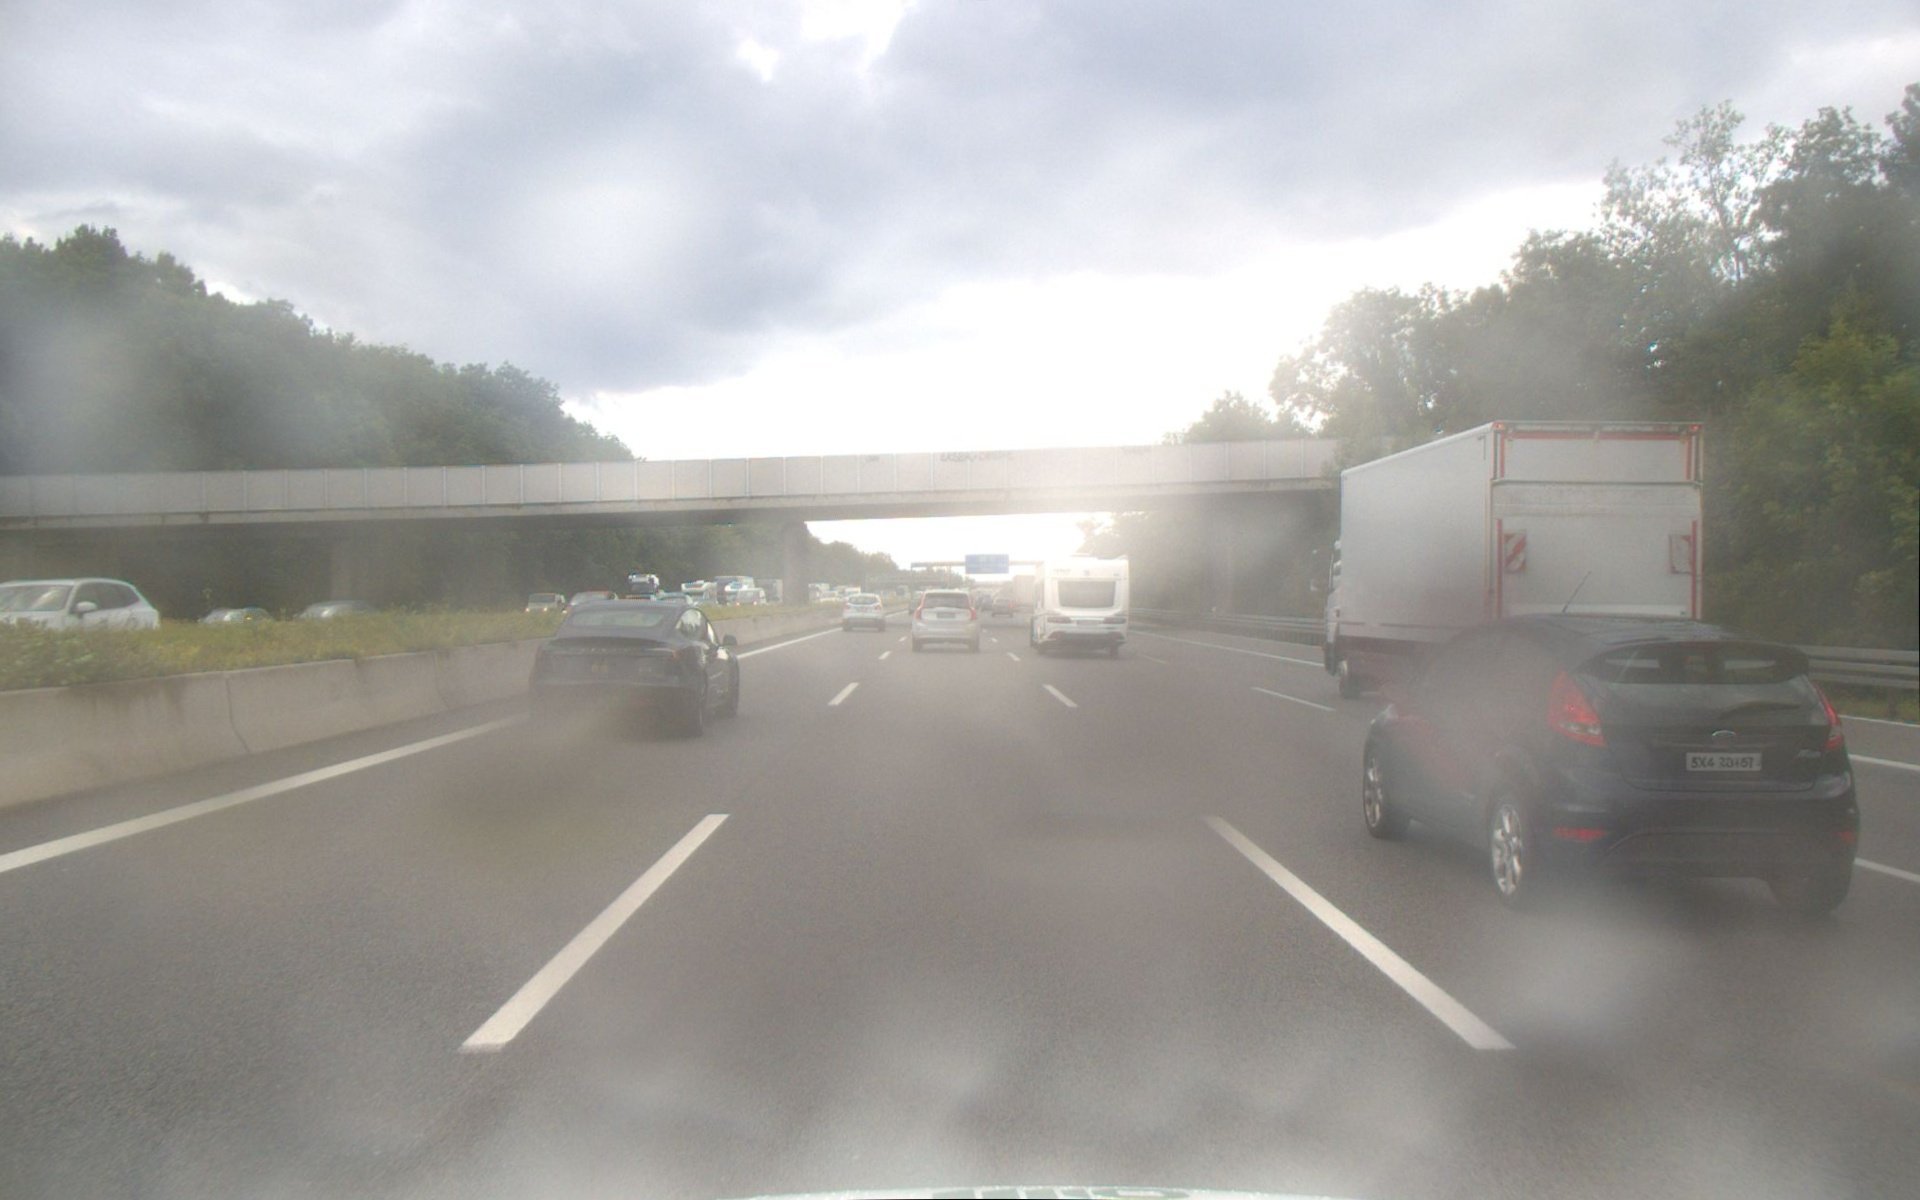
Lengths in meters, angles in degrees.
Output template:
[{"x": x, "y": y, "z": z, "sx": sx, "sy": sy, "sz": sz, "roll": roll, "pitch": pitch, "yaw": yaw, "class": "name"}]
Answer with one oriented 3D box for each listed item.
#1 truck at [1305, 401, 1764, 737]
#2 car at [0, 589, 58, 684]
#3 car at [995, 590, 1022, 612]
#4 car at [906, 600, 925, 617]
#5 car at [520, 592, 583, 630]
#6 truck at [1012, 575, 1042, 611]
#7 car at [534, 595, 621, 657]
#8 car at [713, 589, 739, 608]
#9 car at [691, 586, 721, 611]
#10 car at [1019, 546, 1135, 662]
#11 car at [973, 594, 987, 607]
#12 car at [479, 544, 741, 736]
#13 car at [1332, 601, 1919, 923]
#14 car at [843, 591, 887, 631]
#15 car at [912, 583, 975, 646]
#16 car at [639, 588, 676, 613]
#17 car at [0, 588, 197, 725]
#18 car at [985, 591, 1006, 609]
[{"x": 7.522, "y": -0.364, "z": 23.600, "sx": 3.069, "sy": 3.774, "sz": 9.846, "roll": 0, "pitch": 0, "yaw": 0, "class": "truck"}, {"x": -21.392, "y": 0.758, "z": 34.500, "sx": 2.552, "sy": 1.986, "sz": 4.827, "roll": 0, "pitch": 0, "yaw": -1, "class": "car"}, {"x": 4.065, "y": 0.080, "z": 138.563, "sx": 2.002, "sy": 1.855, "sz": 4.903, "roll": 0, "pitch": 0, "yaw": -1, "class": "car"}, {"x": -4.037, "y": 0.789, "z": 150.109, "sx": 1.745, "sy": 1.507, "sz": 4.351, "roll": 0, "pitch": 0, "yaw": -1, "class": "car"}, {"x": -21.722, "y": 0.554, "z": 88.114, "sx": 2.175, "sy": 1.986, "sz": 4.827, "roll": 0, "pitch": 0, "yaw": -1, "class": "car"}, {"x": 7.321, "y": -0.769, "z": 181.292, "sx": 2.847, "sy": 3.876, "sz": 7.272, "roll": 0, "pitch": 0, "yaw": -1, "class": "truck"}, {"x": -13.432, "y": 0.874, "z": 58.317, "sx": 2.002, "sy": 2.049, "sz": 4.787, "roll": 0, "pitch": 0, "yaw": -1, "class": "car"}, {"x": -24.991, "y": -0.123, "z": 176.751, "sx": 2.175, "sy": 1.986, "sz": 4.827, "roll": 0, "pitch": 0, "yaw": -1, "class": "car"}, {"x": -20.852, "y": -0.148, "z": 136.042, "sx": 1.953, "sy": 2.049, "sz": 3.998, "roll": 0, "pitch": 0, "yaw": -2, "class": "car"}, {"x": 3.138, "y": 0.087, "z": 46.110, "sx": 2.515, "sy": 2.946, "sz": 7.531, "roll": 0, "pitch": 0, "yaw": -1, "class": "car"}, {"x": 2.924, "y": 0.117, "z": 243.127, "sx": 2.001, "sy": 1.855, "sz": 4.904, "roll": 0, "pitch": 0, "yaw": 0, "class": "car"}, {"x": -3.725, "y": 0.379, "z": 18.575, "sx": 1.953, "sy": 1.852, "sz": 5.161, "roll": 0, "pitch": 0, "yaw": -1, "class": "car"}, {"x": 3.606, "y": 0.741, "z": 9.662, "sx": 1.846, "sy": 1.431, "sz": 4.281, "roll": 0, "pitch": 0, "yaw": -1, "class": "car"}, {"x": -4.280, "y": 0.482, "z": 74.954, "sx": 1.778, "sy": 1.719, "sz": 4.851, "roll": 0, "pitch": 1, "yaw": -1, "class": "car"}, {"x": -0.473, "y": 0.393, "z": 48.087, "sx": 1.744, "sy": 1.746, "sz": 4.352, "roll": 0, "pitch": 0, "yaw": -1, "class": "car"}, {"x": -24.498, "y": 0.040, "z": 133.986, "sx": 2.175, "sy": 1.986, "sz": 4.827, "roll": 0, "pitch": 0, "yaw": -1, "class": "car"}, {"x": -13.855, "y": 0.762, "z": 25.335, "sx": 1.953, "sy": 1.882, "sz": 5.224, "roll": 0, "pitch": 0, "yaw": -1, "class": "car"}, {"x": 3.794, "y": 0.004, "z": 177.565, "sx": 2.002, "sy": 1.855, "sz": 4.903, "roll": 0, "pitch": 0, "yaw": -1, "class": "car"}]
